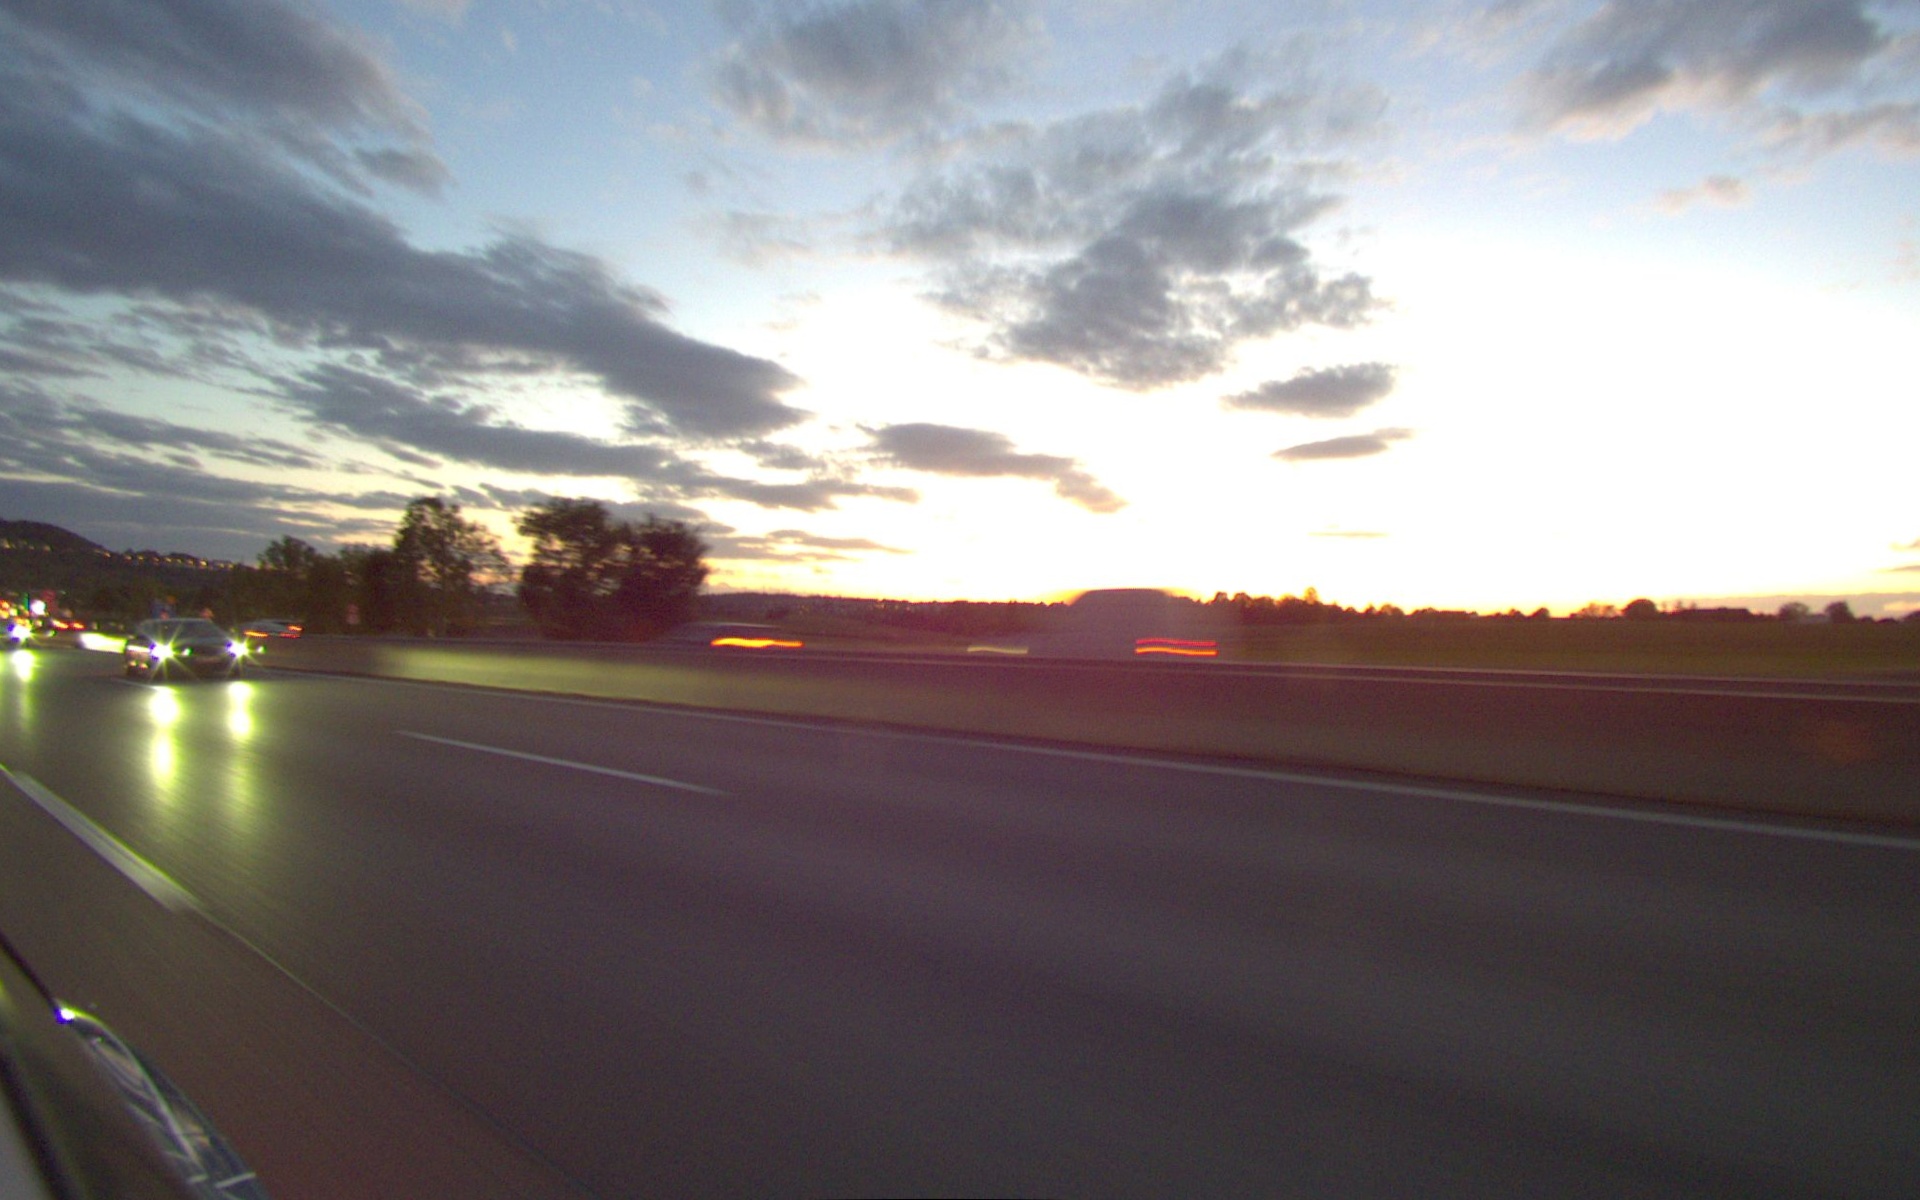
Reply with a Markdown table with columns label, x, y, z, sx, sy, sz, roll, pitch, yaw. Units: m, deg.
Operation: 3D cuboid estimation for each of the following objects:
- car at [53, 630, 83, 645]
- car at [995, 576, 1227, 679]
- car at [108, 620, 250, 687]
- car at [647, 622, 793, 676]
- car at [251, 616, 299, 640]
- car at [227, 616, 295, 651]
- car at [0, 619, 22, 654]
| label | x | y | z | sx | sy | sz | roll | pitch | yaw |
| --- | --- | --- | --- | --- | --- | --- | --- | --- | --- |
| car | -95.947 | 4.066 | 108.862 | 4.272 | 1.465 | 1.841 | 0 | 0 | 41 |
| car | 3.795 | 0.657 | 26.331 | 5.833 | 2.405 | 1.973 | 0 | 0 | 41 |
| car | -19.906 | 1.278 | 25.704 | 5.391 | 1.448 | 1.796 | -1 | 0 | 41 |
| car | -7.356 | 1.437 | 30.795 | 4.657 | 1.423 | 1.973 | 0 | 0 | 41 |
| car | -49.089 | 1.982 | 72.463 | 4.792 | 1.656 | 1.643 | 0 | 0 | 41 |
| car | -34.743 | 1.630 | 50.252 | 4.624 | 1.629 | 1.681 | 0 | 0 | 41 |
| car | -49.616 | 1.863 | 51.792 | 4.853 | 1.660 | 1.796 | 0 | 0 | 41 |
